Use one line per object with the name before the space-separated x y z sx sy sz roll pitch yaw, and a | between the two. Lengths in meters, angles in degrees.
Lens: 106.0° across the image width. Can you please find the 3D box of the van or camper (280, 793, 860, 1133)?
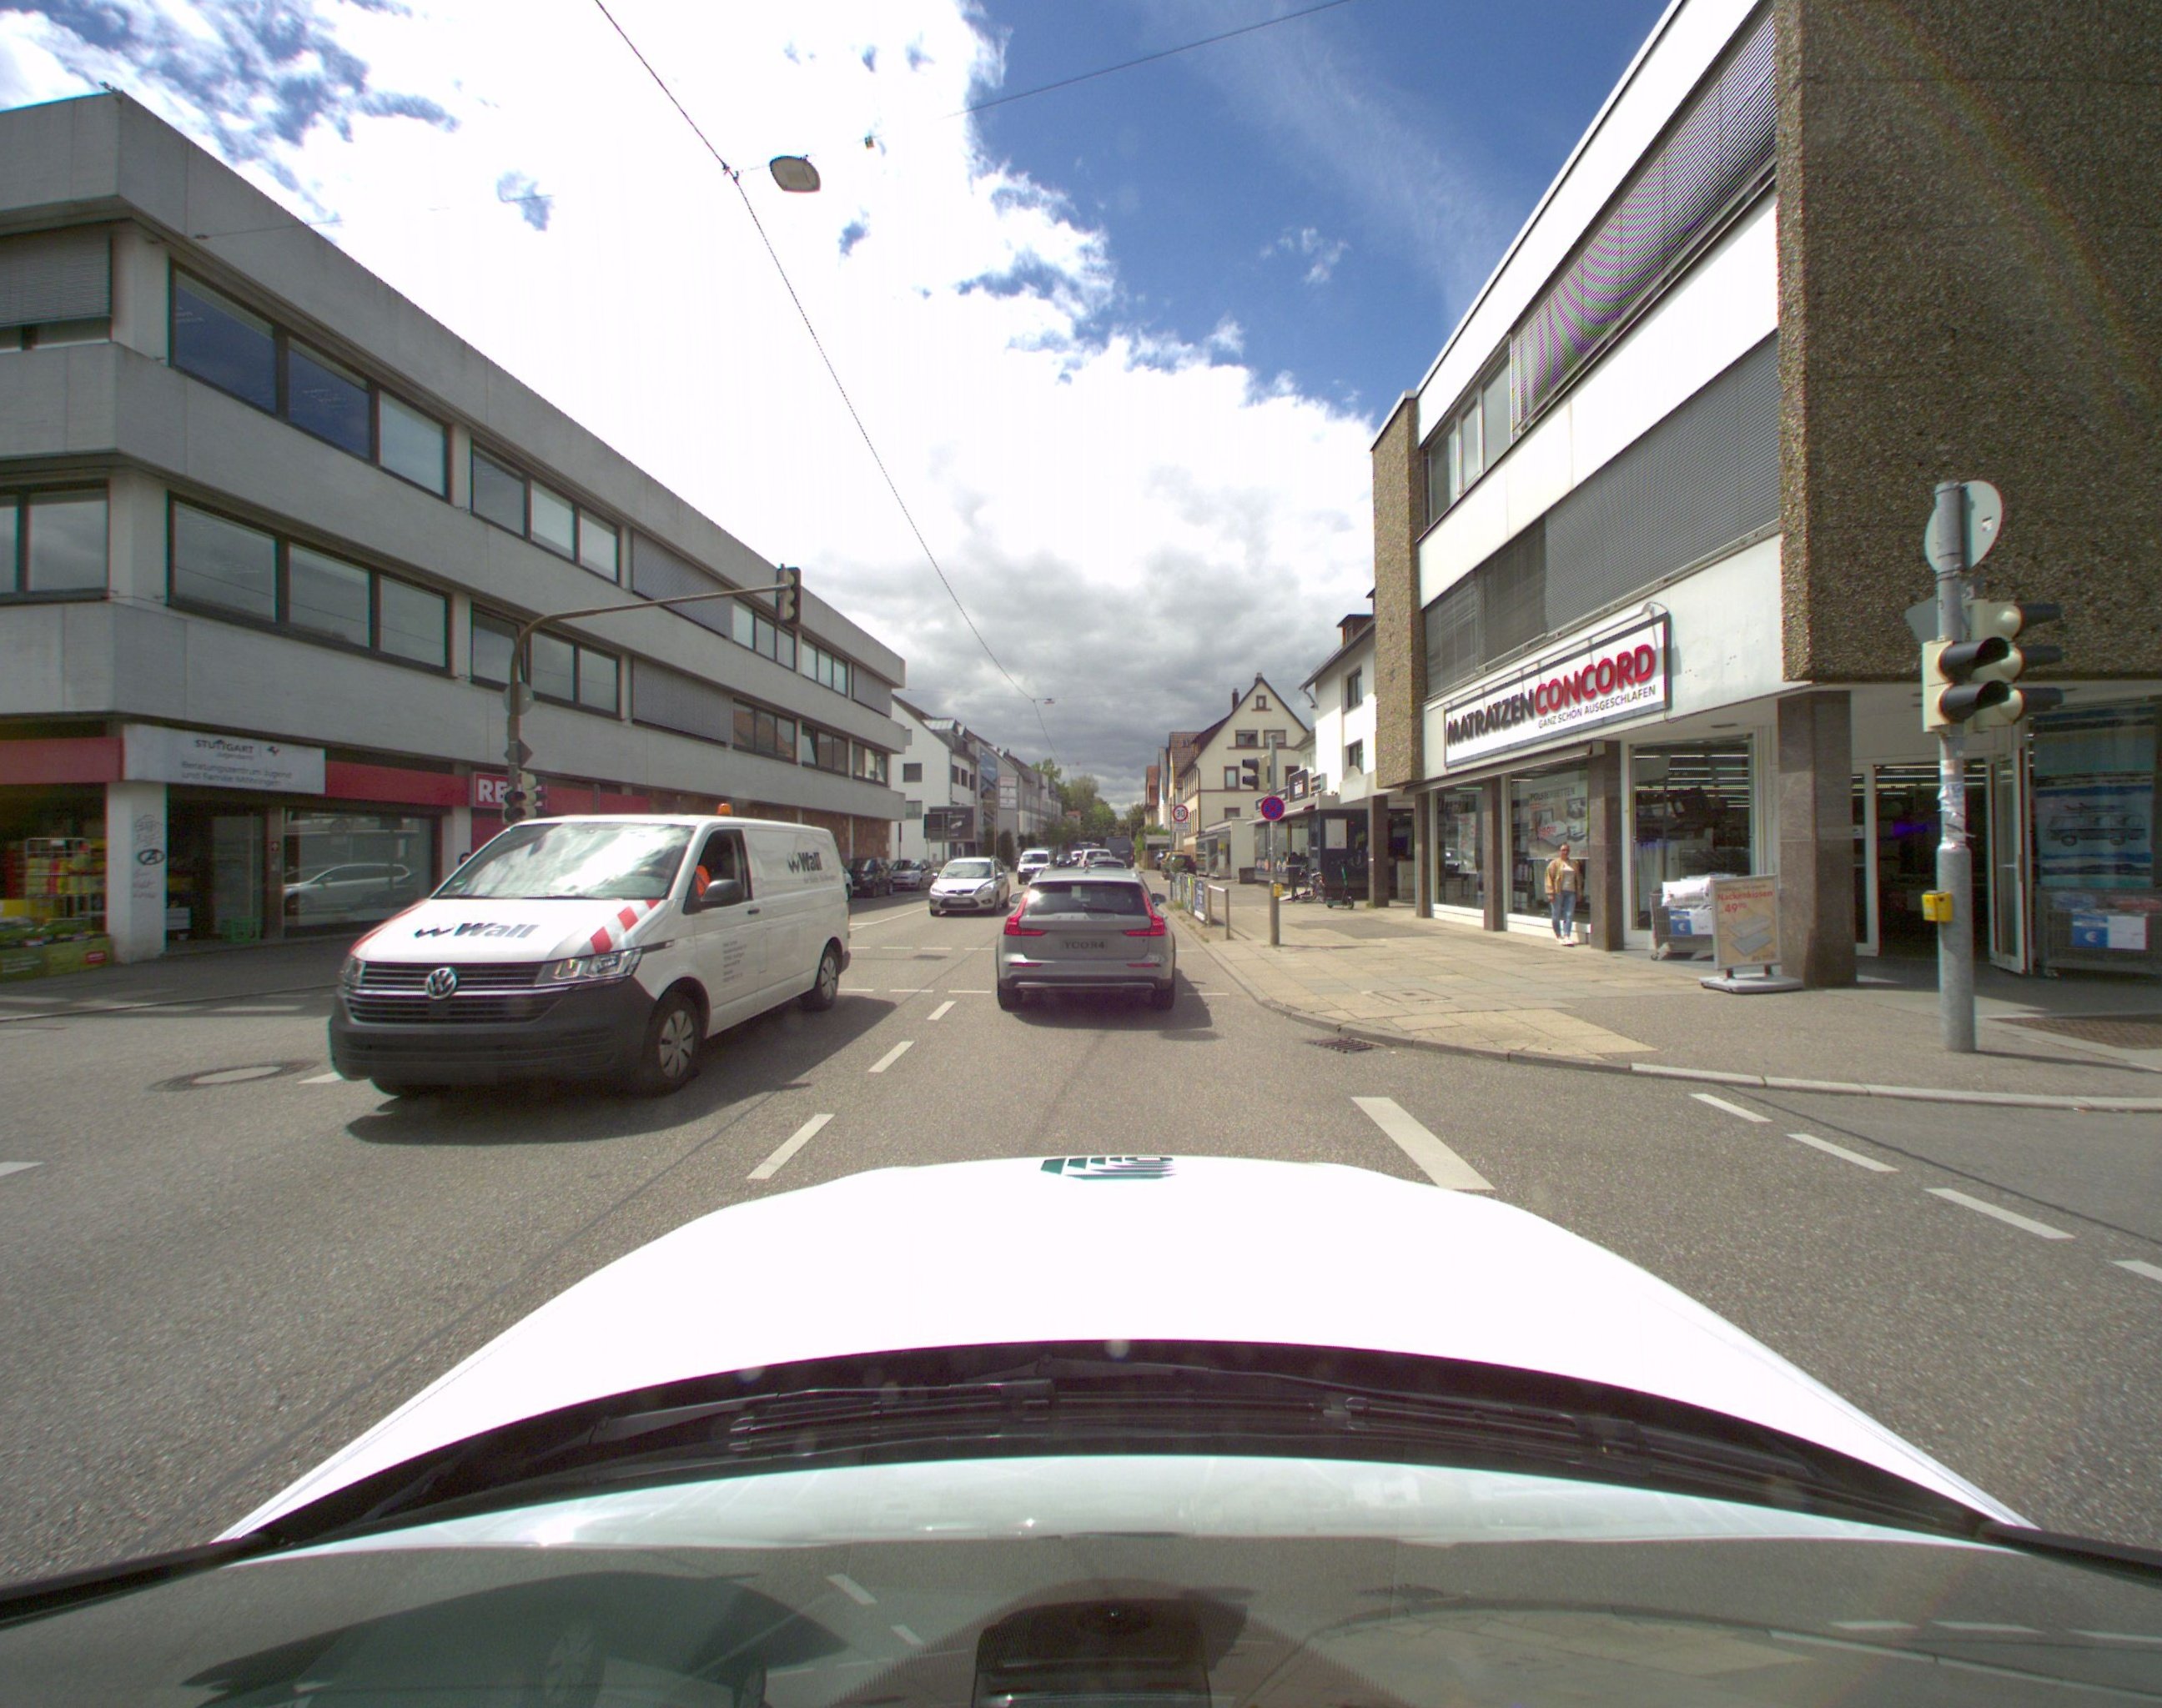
van or camper | -3.507 0.577 6.924 1.858 1.898 4.694 0 1 1

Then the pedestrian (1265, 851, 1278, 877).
pedestrian | 7.845 0.403 33.527 0.413 1.052 0.367 -1 0 0

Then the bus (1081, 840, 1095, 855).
bus | 1.269 -1.144 144.494 2.267 2.668 7.434 -1 0 2

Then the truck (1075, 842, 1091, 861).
truck | 0.334 -0.404 127.927 2.267 2.886 7.083 -1 0 2

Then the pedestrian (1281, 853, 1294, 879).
pedestrian | 8.589 0.507 33.918 0.413 1.052 0.367 -1 0 0

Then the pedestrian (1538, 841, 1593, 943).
pedestrian | 7.213 0.559 12.132 0.500 1.459 0.502 -4 -1 14

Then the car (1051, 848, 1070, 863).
car | -2.082 0.099 83.409 1.756 1.426 4.001 -1 0 1

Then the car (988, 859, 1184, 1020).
car | 0.083 0.812 9.630 1.829 1.486 4.001 -1 0 1

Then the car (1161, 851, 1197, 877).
car | 5.883 0.621 49.289 1.705 1.464 3.998 0 -1 -1

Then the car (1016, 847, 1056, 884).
car | -2.372 0.594 44.092 1.831 1.917 4.156 0 0 1

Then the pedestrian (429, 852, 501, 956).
pedestrian | -9.963 0.790 13.188 0.616 1.641 0.661 -1 0 2

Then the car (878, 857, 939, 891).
car | -8.027 0.883 38.238 1.747 1.426 3.866 -1 0 4

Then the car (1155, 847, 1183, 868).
car | 6.767 0.296 62.876 1.875 1.500 3.973 0 -1 2

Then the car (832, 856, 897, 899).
car | -8.397 0.882 31.809 1.601 1.543 2.946 1 0 2

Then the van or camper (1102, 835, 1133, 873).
van or camper | 2.726 -0.002 60.993 2.115 2.686 4.784 -1 0 2

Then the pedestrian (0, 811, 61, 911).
pedestrian | -18.715 0.133 14.489 0.389 1.739 0.773 1 -2 -28

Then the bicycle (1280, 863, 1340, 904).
bicycle | 6.765 0.840 24.195 0.556 1.144 2.287 -1 0 -16

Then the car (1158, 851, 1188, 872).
car | 6.625 0.563 58.758 1.875 1.416 3.973 0 -1 2

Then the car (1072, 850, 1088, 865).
car | -0.095 0.483 103.005 1.790 1.816 4.002 0 -1 2

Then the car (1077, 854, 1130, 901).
car | 0.749 0.760 27.385 1.644 1.482 3.608 0 0 1

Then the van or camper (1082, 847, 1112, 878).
van or camper | 1.038 0.585 52.172 1.813 1.835 4.000 -1 -2 1

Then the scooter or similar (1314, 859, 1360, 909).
scooter or similar | 6.648 0.767 21.204 0.342 1.253 1.235 -3 -1 -24

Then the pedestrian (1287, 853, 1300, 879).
pedestrian | 8.588 0.482 32.867 0.413 1.052 0.367 -1 0 0

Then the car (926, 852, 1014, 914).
car | -2.953 0.721 22.526 1.662 1.554 4.217 0 0 2

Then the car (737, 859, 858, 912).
car | -8.861 0.935 25.915 1.894 1.443 4.450 1 0 6
